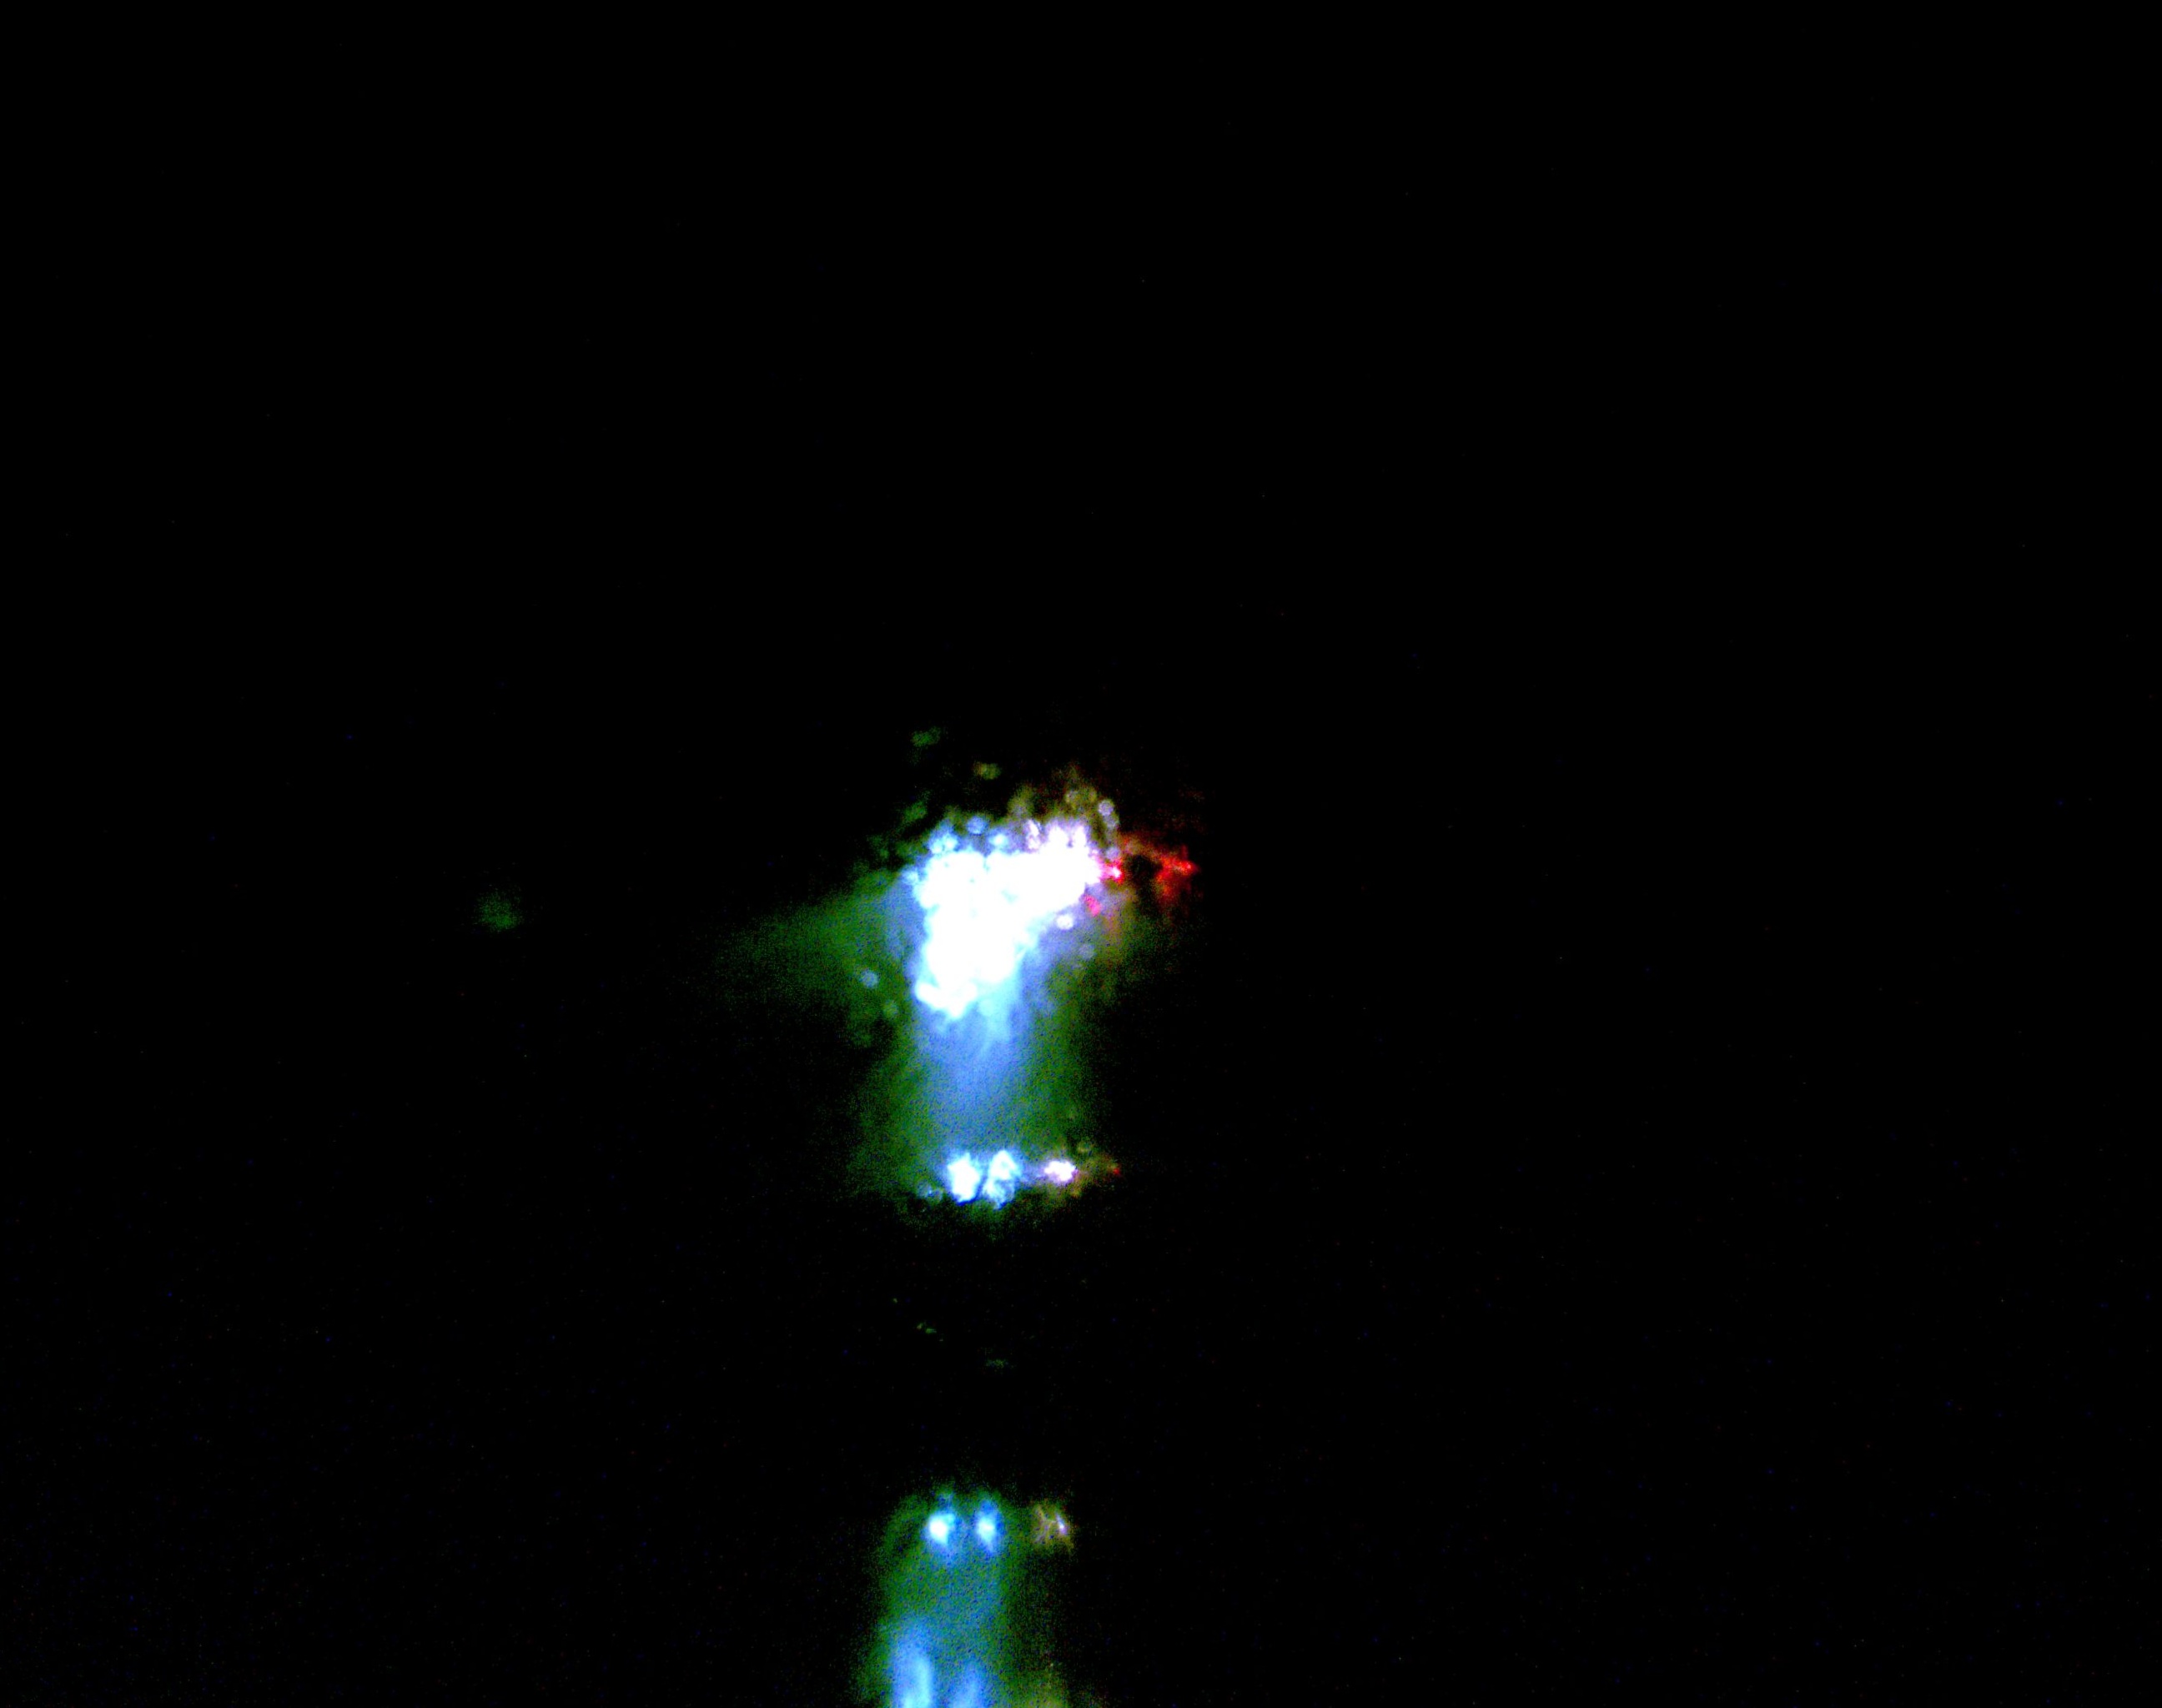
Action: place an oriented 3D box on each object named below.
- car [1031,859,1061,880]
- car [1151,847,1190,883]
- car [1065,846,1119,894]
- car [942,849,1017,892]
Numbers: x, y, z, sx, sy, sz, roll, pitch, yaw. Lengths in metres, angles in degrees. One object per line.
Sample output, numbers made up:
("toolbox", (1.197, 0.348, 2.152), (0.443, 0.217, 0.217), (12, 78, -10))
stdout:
("car", (-2.591, 1.141, 60.883), (1.986, 1.498, 3.775), (1, 0, 1))
("car", (5.285, 0.615, 48.413), (2.084, 2.013, 4.004), (1, 0, 4))
("car", (0.378, 0.549, 29.448), (1.803, 1.621, 3.999), (0, 0, 0))
("car", (-3.523, 0.546, 29.208), (1.986, 1.418, 4.666), (1, 0, 1))
